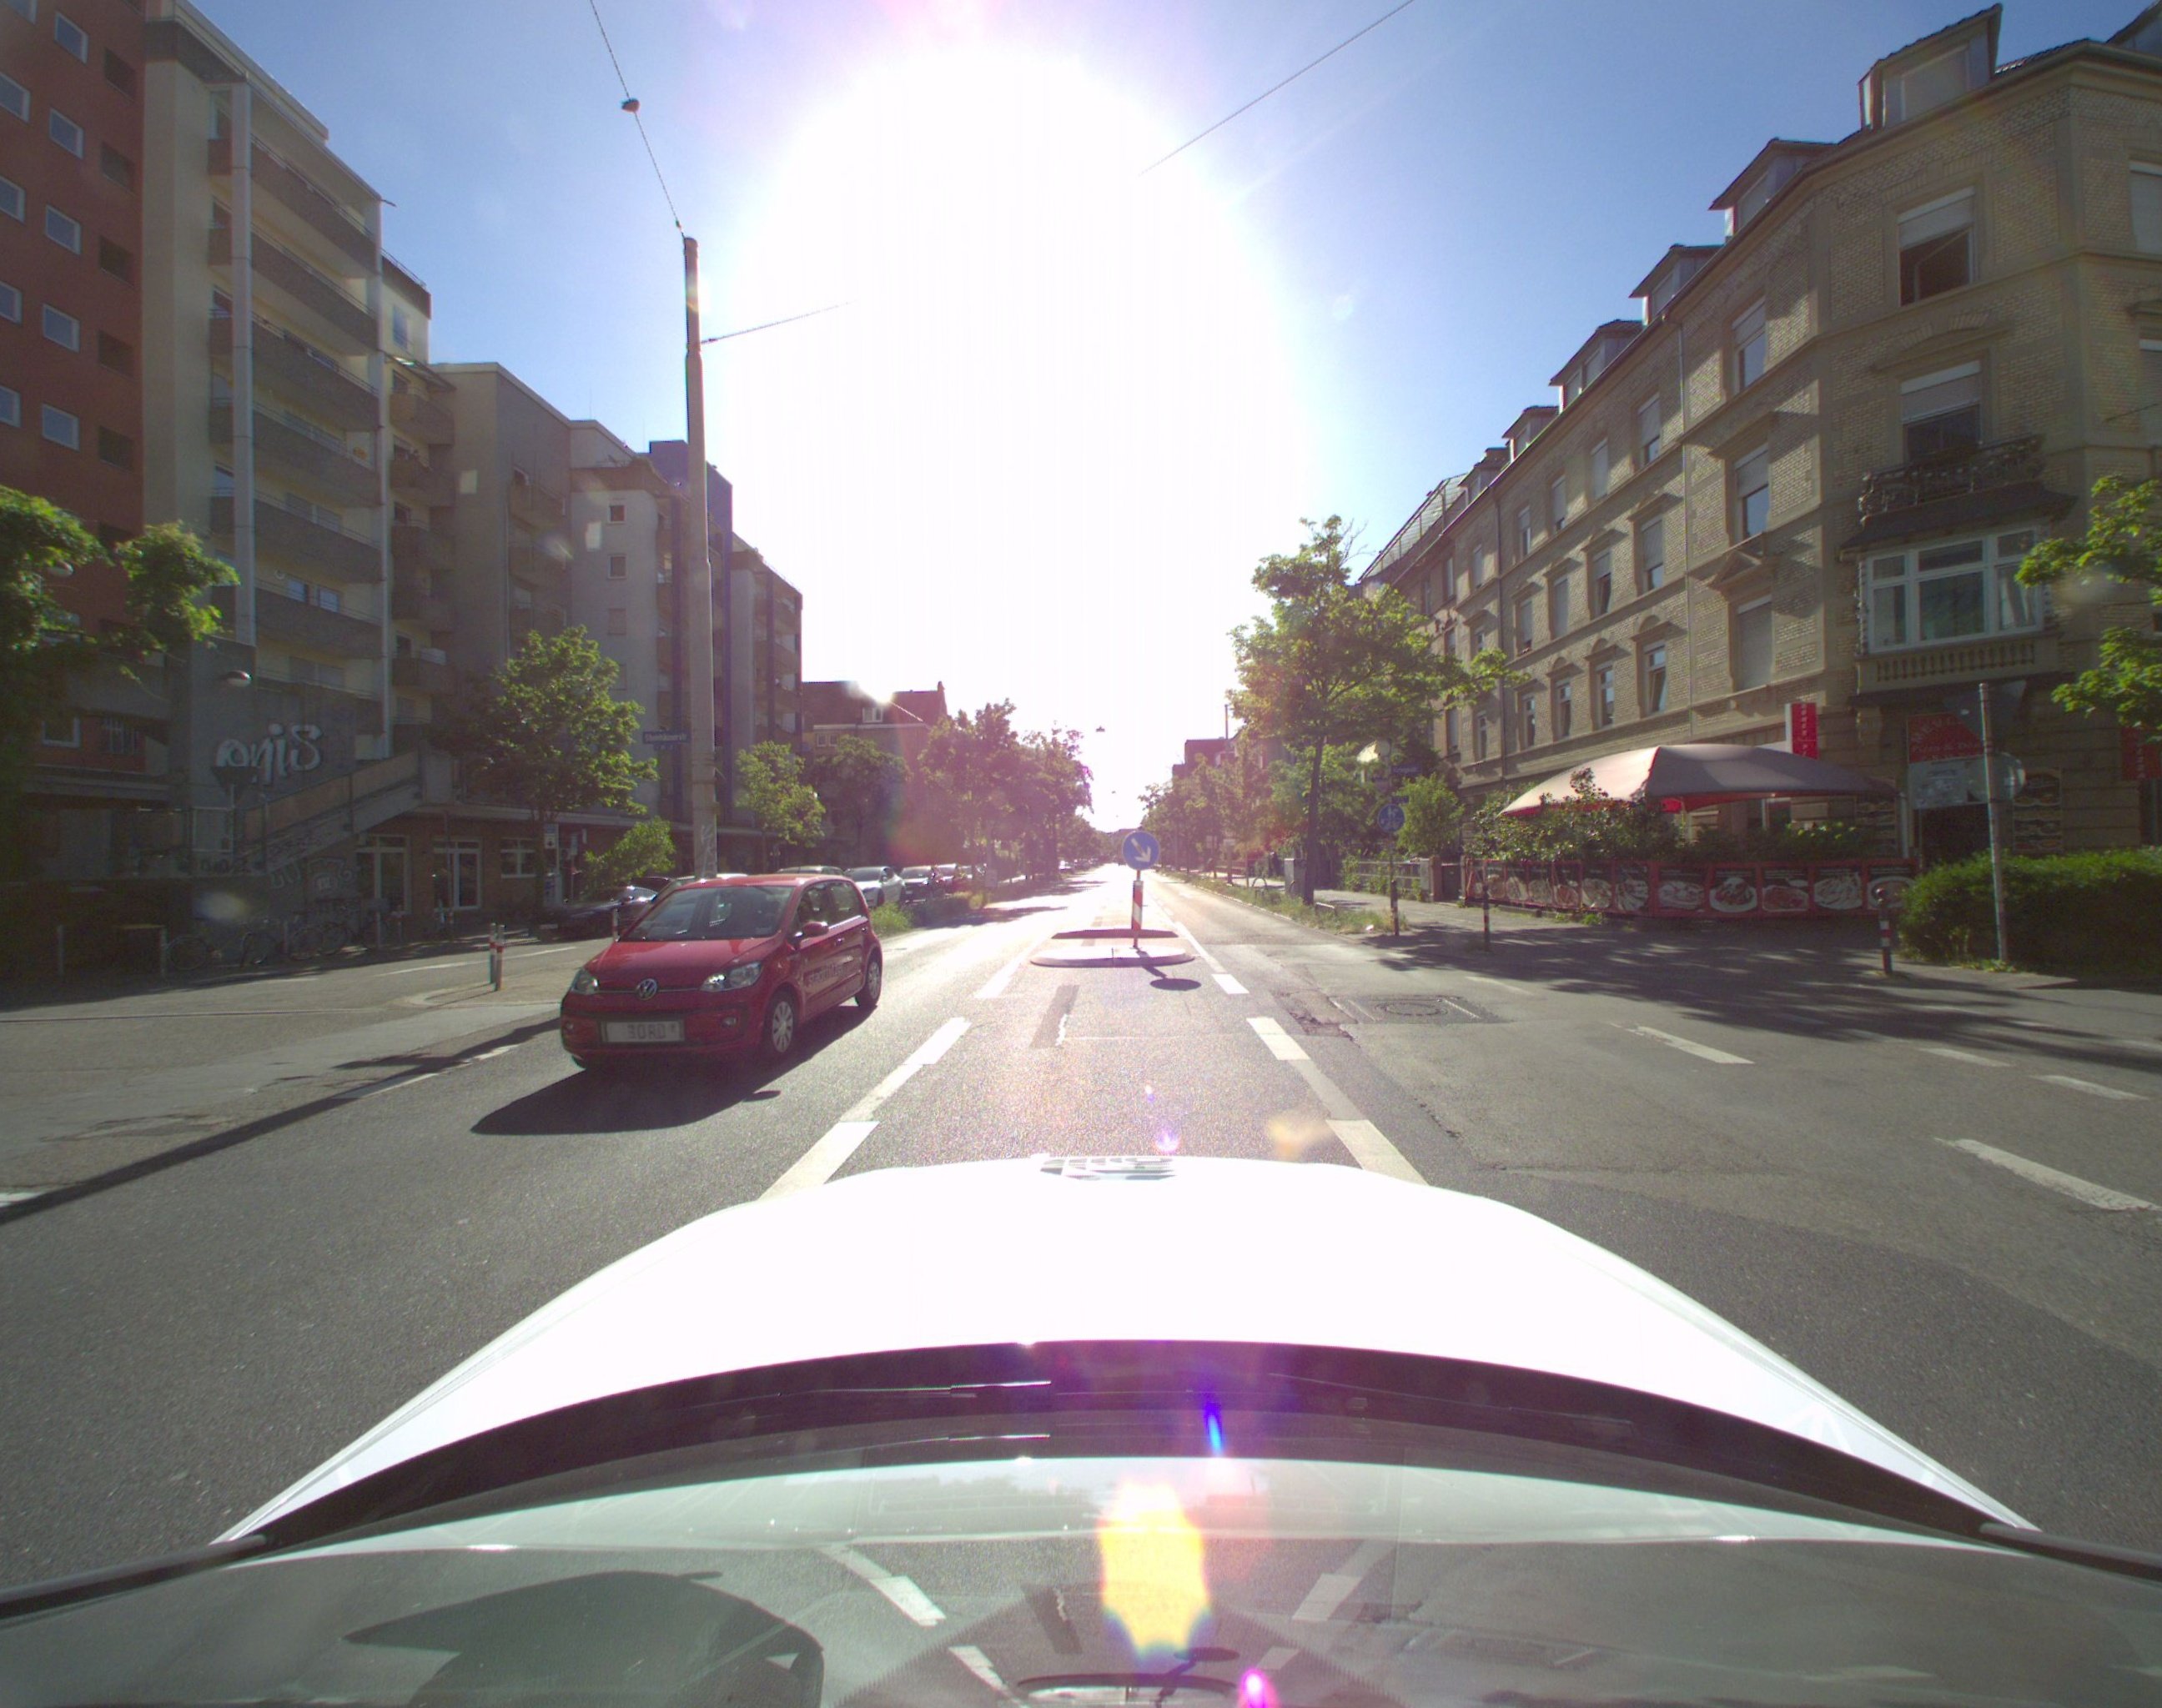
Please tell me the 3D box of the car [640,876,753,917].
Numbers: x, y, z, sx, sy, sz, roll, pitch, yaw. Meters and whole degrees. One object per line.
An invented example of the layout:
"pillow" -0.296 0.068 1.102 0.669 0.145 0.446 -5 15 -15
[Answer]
"car" -16.733 1.828 35.565 3.975 1.607 1.841 -1 -1 -1

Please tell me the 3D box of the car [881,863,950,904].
"car" -7.208 1.260 35.930 1.854 1.587 4.005 -3 0 5

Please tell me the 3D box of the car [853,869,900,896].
"car" -12.525 1.736 50.147 1.680 1.469 4.003 -1 0 3

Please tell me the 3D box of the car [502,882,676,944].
"car" -13.754 1.596 23.149 1.882 1.398 4.535 -2 0 5

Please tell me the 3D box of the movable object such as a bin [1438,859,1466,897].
"movable object such as a bin" 11.251 0.731 24.698 0.566 1.133 0.552 -2 -1 3

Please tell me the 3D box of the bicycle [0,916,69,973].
"bicycle" -20.211 1.697 15.223 1.794 1.001 0.483 -1 0 -6

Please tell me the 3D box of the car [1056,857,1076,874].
"car" -1.886 1.438 102.270 1.984 2.013 4.211 -2 0 5

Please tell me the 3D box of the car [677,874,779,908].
"car" -16.459 1.711 38.136 3.975 1.424 1.686 -1 -1 -1

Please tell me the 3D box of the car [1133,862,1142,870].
"car" 12.509 2.712 181.513 1.943 1.708 4.004 -2 0 4

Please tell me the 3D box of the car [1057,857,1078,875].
"car" -1.597 1.395 97.265 1.984 2.013 4.211 -2 0 5

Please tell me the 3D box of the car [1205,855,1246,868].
"car" 14.823 0.778 83.840 3.969 1.223 1.805 -1 0 3

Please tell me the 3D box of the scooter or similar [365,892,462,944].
"scooter or similar" -17.659 1.679 21.563 1.962 1.277 0.630 -2 0 -3

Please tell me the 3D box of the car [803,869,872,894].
"car" -15.939 1.798 53.393 3.975 1.469 1.607 -1 -1 -1

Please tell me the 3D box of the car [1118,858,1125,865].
"car" 10.549 1.890 211.359 1.750 1.783 4.004 -2 0 4

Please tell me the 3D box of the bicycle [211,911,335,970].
"bicycle" -16.705 1.760 16.889 0.410 1.031 1.811 1 0 19

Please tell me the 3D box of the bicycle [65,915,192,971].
"bicycle" -18.744 1.734 16.054 1.618 1.001 0.412 0 0 -21

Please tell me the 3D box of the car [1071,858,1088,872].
"car" -0.206 1.637 124.141 2.051 2.013 4.635 -2 0 5

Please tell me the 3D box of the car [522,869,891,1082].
"car" -3.089 0.902 7.561 1.645 1.428 3.509 -2 0 2

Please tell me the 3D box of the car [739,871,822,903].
"car" -16.862 1.852 45.853 3.975 1.629 1.686 -1 -1 -1

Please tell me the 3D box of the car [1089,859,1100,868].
"car" 2.901 1.987 173.974 1.984 1.695 4.006 -2 0 5

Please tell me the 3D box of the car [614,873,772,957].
"car" -8.353 1.247 17.902 1.714 1.518 3.531 -2 0 0

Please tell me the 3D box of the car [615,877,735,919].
"car" -16.599 1.776 33.454 3.975 1.551 1.769 -1 -1 -1

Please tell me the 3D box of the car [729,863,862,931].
"car" -7.854 1.104 22.894 1.860 1.627 4.509 -2 0 4

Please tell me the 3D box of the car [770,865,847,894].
"car" -16.216 1.500 48.535 3.975 1.629 1.686 -1 -1 -1

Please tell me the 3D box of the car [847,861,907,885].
"car" -15.241 1.429 60.981 3.975 1.629 1.686 -1 -1 -1

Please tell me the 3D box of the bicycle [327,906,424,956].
"bicycle" -16.578 1.786 19.199 0.411 1.001 1.808 1 0 12

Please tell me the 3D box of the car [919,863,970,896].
"car" -6.980 1.287 42.026 1.744 1.553 4.002 -2 0 2

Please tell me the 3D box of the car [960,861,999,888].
"car" -6.467 1.286 52.259 1.755 1.646 4.003 -2 0 3

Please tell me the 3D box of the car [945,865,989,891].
"car" -6.599 1.376 47.547 1.747 1.398 4.002 -2 0 2

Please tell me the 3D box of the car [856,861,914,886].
"car" -15.121 1.502 62.983 3.975 1.769 1.885 -1 0 -1

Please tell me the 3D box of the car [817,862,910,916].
"car" -7.749 1.198 29.497 1.881 1.662 4.533 -3 0 2
